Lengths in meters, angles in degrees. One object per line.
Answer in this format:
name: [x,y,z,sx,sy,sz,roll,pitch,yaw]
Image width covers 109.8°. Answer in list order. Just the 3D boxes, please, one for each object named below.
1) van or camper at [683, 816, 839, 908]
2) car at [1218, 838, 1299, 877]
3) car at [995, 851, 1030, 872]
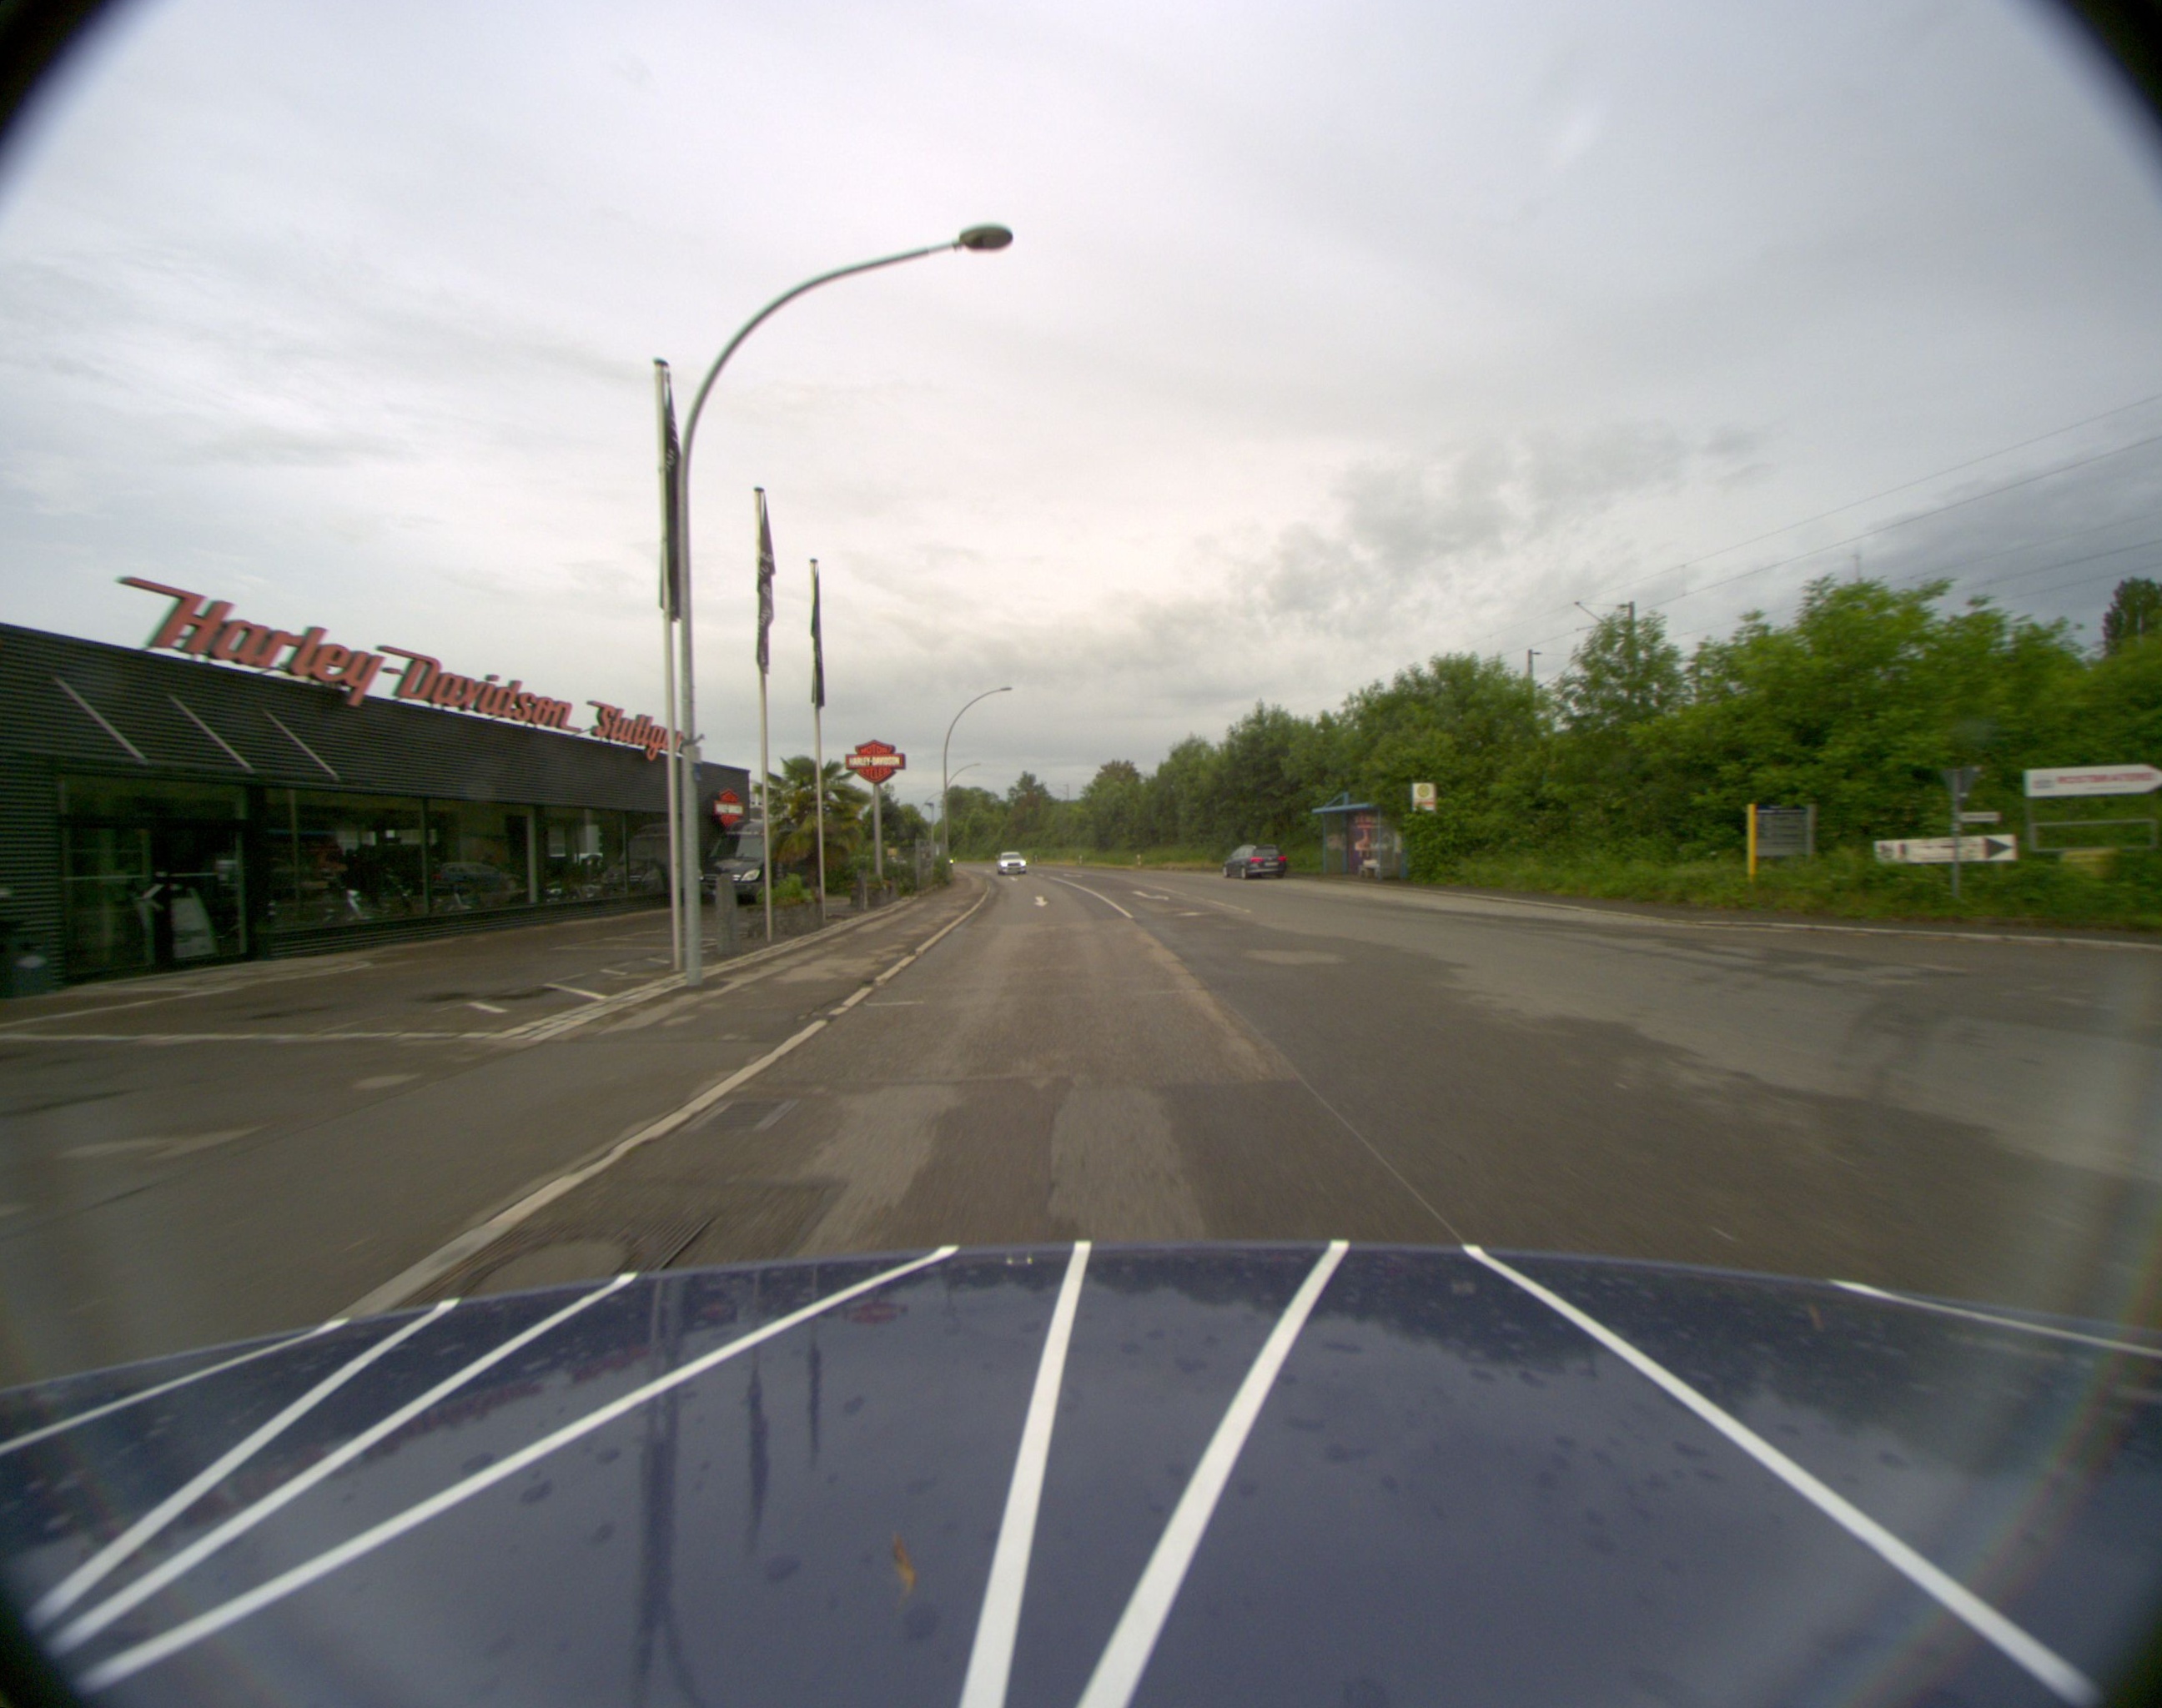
van or camper: [-10.165,0.184,24.970,2.046,2.578,6.590,-1,1,2]
car: [7.924,0.096,34.398,2.000,1.466,4.696,-4,2,-7]
car: [-5.256,0.551,58.274,1.851,1.565,3.821,-2,1,-18]
